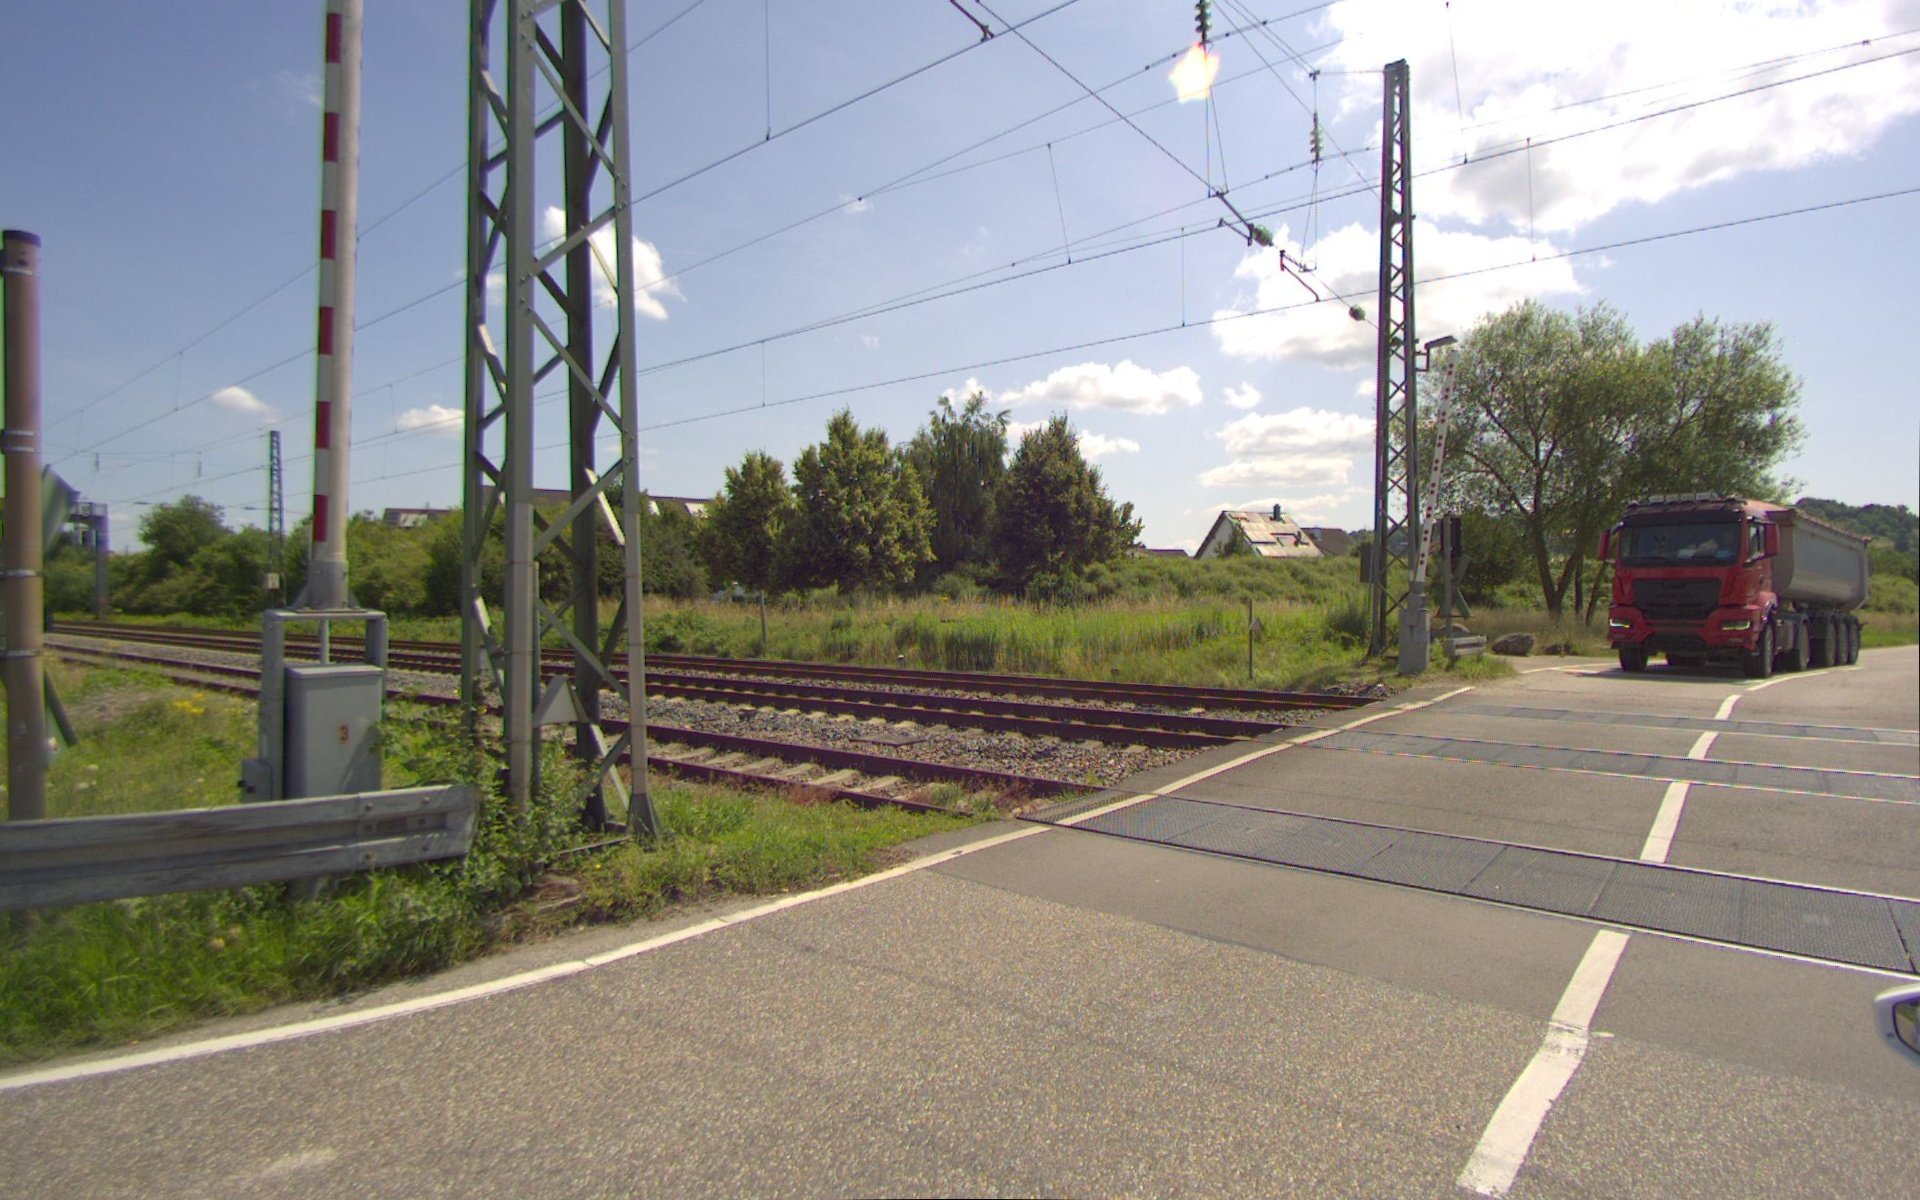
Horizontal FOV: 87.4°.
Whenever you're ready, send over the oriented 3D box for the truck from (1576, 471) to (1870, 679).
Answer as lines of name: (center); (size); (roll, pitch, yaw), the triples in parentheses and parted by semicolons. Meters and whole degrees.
truck: (18.105, -0.438, 23.301); (12.048, 3.795, 2.848); (0, 0, -40)
